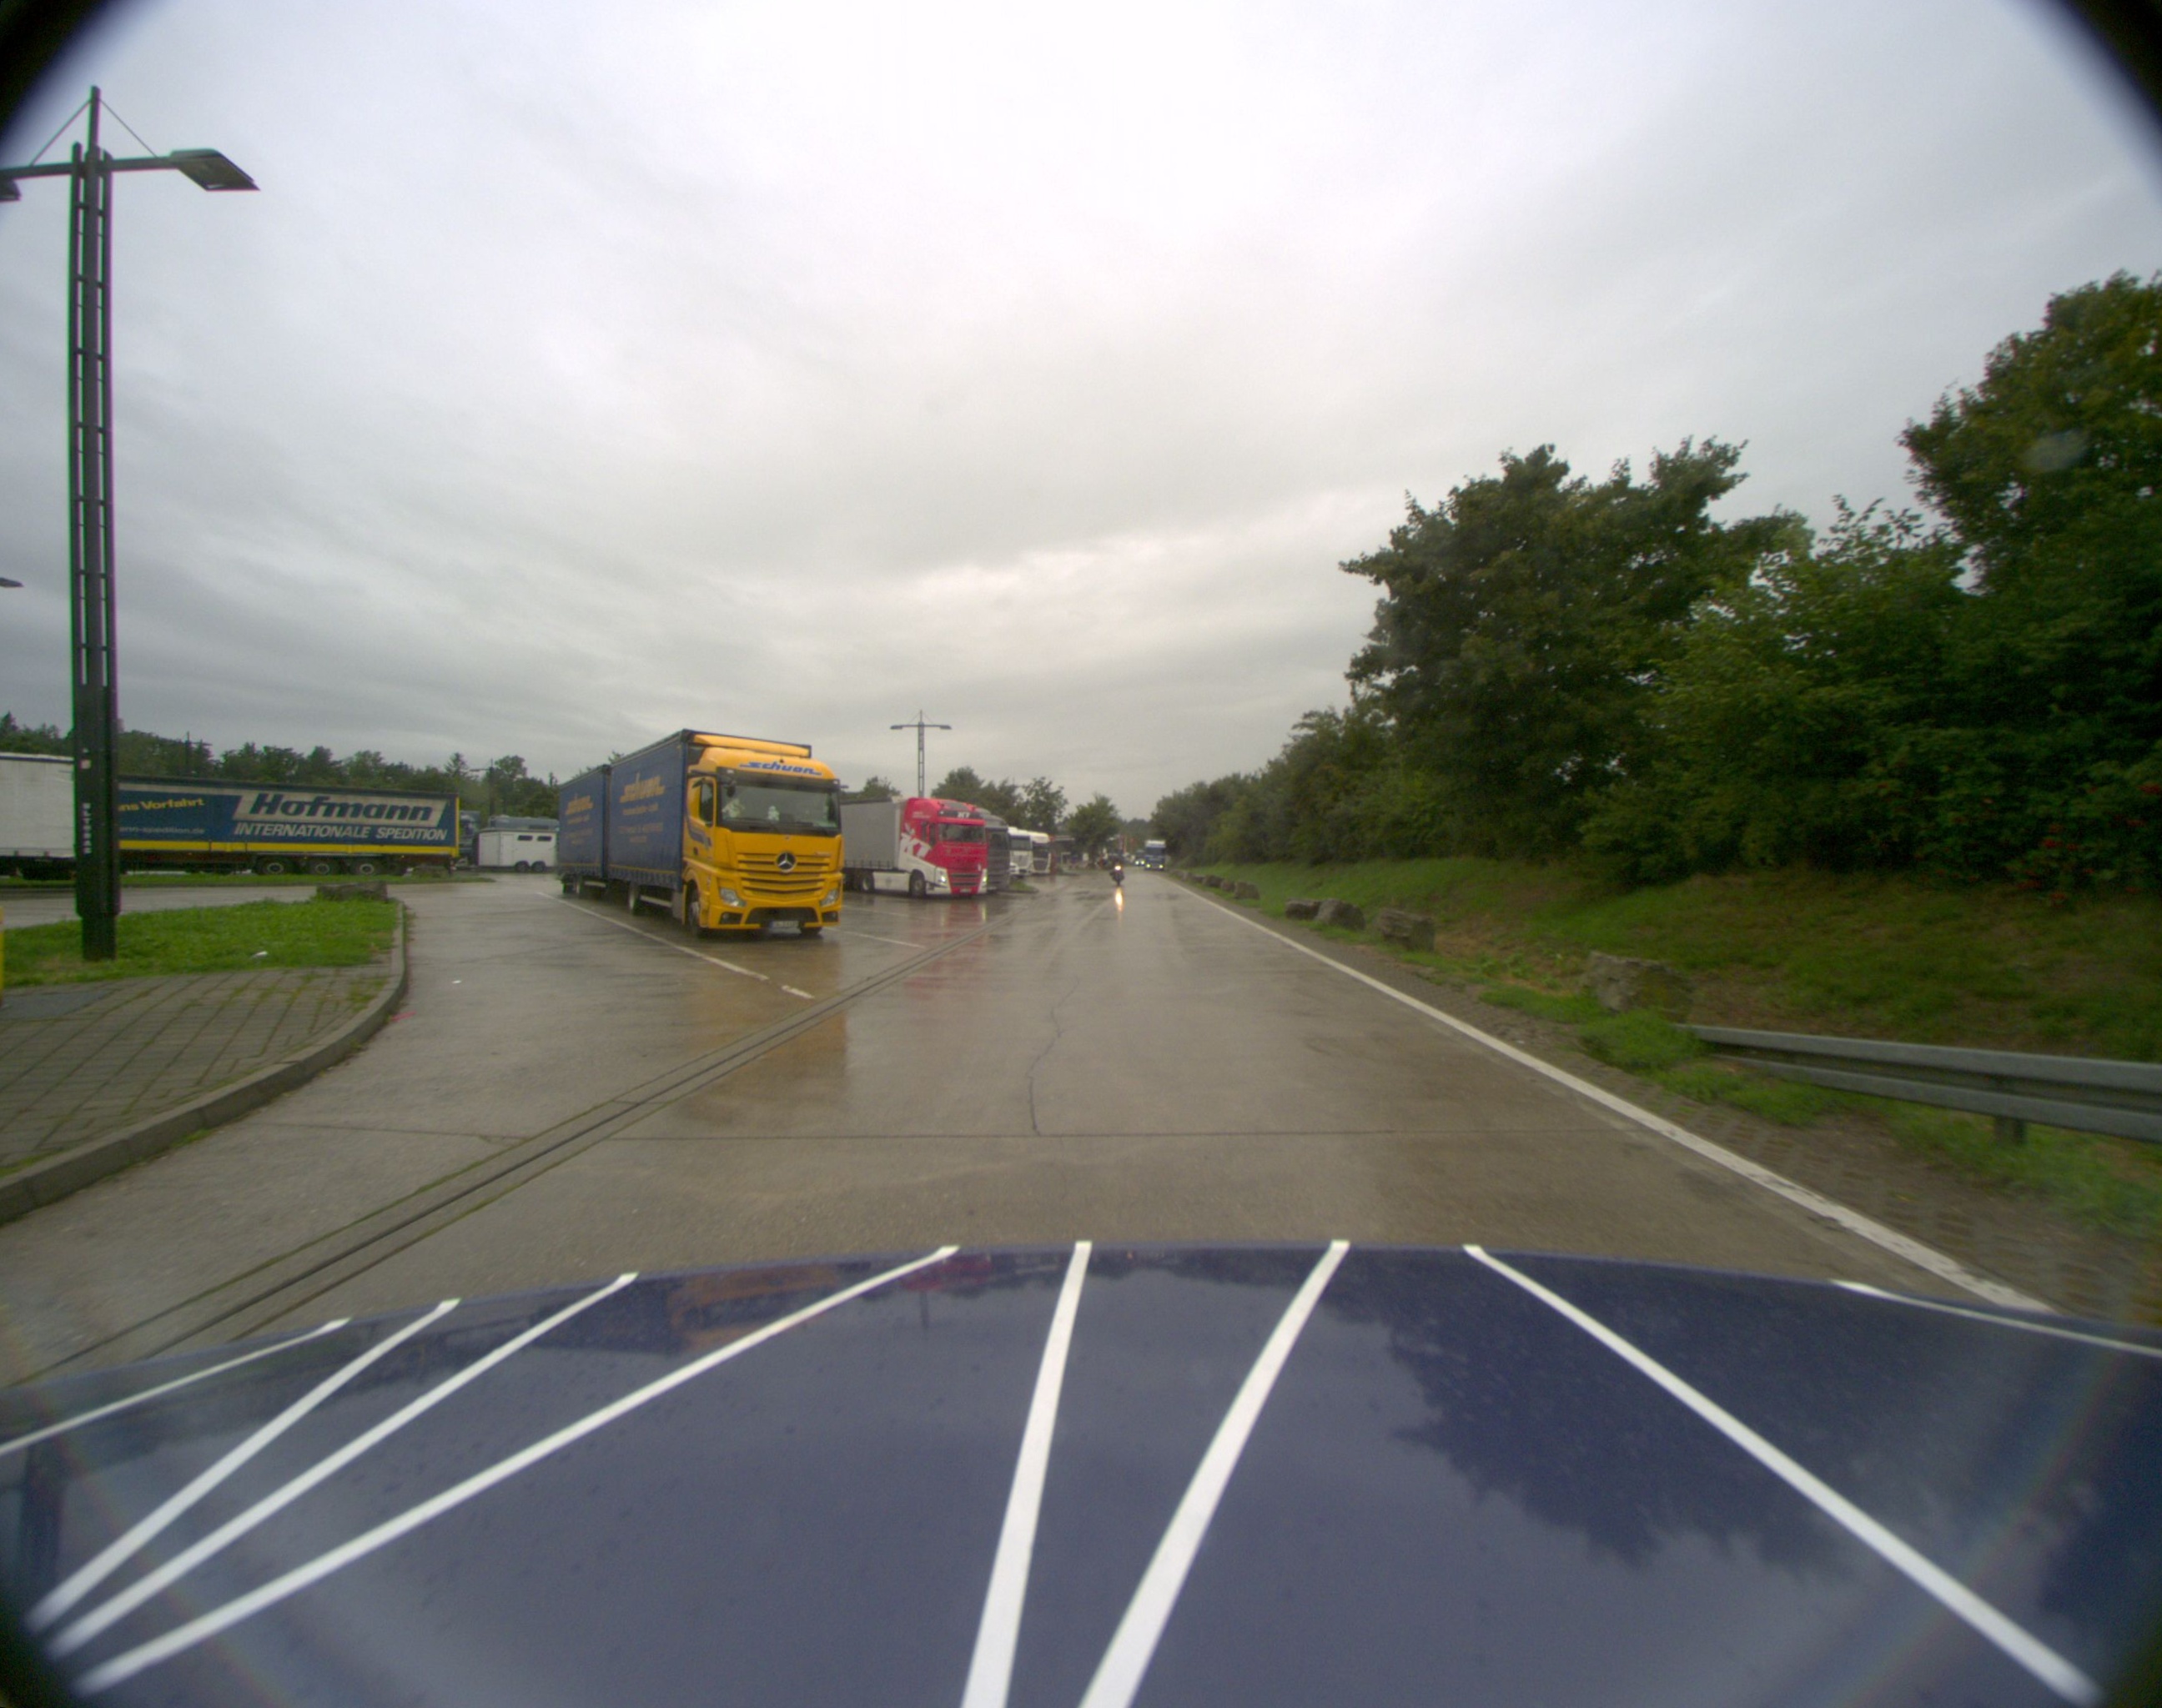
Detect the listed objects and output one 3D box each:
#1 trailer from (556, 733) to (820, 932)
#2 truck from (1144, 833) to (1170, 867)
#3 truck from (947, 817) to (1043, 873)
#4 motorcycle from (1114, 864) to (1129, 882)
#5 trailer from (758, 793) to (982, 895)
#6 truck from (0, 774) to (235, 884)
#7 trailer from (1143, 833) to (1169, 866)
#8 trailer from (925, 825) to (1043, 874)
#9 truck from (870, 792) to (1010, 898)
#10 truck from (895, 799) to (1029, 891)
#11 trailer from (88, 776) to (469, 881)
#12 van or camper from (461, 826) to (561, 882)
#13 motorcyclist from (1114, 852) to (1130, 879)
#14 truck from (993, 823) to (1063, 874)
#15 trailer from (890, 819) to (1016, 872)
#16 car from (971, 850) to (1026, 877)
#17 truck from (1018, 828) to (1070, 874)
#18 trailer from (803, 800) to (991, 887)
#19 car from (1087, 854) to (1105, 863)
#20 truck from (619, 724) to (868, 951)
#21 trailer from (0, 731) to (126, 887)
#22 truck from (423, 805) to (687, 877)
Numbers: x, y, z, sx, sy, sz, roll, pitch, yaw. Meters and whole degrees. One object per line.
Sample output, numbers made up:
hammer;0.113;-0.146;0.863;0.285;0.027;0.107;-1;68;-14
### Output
trailer;-12.328;-0.508;22.043;2.875;3.896;16.585;1;0;-41
truck;9.969;-0.571;100.200;3.243;4.361;6.315;0;0;4
truck;-6.900;-0.692;59.835;3.253;4.067;7.915;1;0;-45
motorcycle;2.393;1.109;44.705;0.878;1.016;2.354;1;-1;4
trailer;-10.483;-0.470;35.520;3.253;3.896;14.787;1;0;-45
truck;-35.525;-0.912;28.099;5.350;3.733;2.064;-3;1;-44
trailer;10.406;-0.660;106.742;3.243;4.361;13.769;0;0;4
trailer;-9.708;-0.424;73.574;3.253;4.361;14.354;-1;1;-45
truck;-5.750;-0.343;30.733;3.253;3.896;5.007;1;0;-45
truck;-5.709;-0.406;35.681;2.906;3.896;6.536;1;0;-45
trailer;-32.155;-1.084;31.365;10.408;3.733;2.064;-3;1;-44
van or camper;-35.226;-0.032;47.037;4.616;3.219;2.264;-3;1;-42
motorcyclist;2.399;0.680;44.688;0.878;1.558;1.374;1;-1;4
truck;-4.826;-0.499;68.635;3.253;4.361;5.796;-1;1;-45
trailer;-11.129;-0.757;64.119;3.253;4.067;13.493;1;0;-45
car;-5.892;0.620;53.934;1.852;1.847;3.988;0;1;-42
truck;-3.662;-0.273;74.083;2.612;4.361;4.615;-1;1;-45
trailer;-10.230;-0.548;40.228;2.883;3.896;13.894;1;0;-45
car;2.446;0.728;125.134;1.859;1.586;4.129;0;0;19
truck;-7.920;-0.317;17.044;2.846;3.896;8.107;1;0;-41
trailer;-34.312;-0.998;17.963;14.192;4.233;2.661;-3;1;-42
truck;-35.498;-0.835;52.190;14.599;4.361;3.468;0;1;-42
